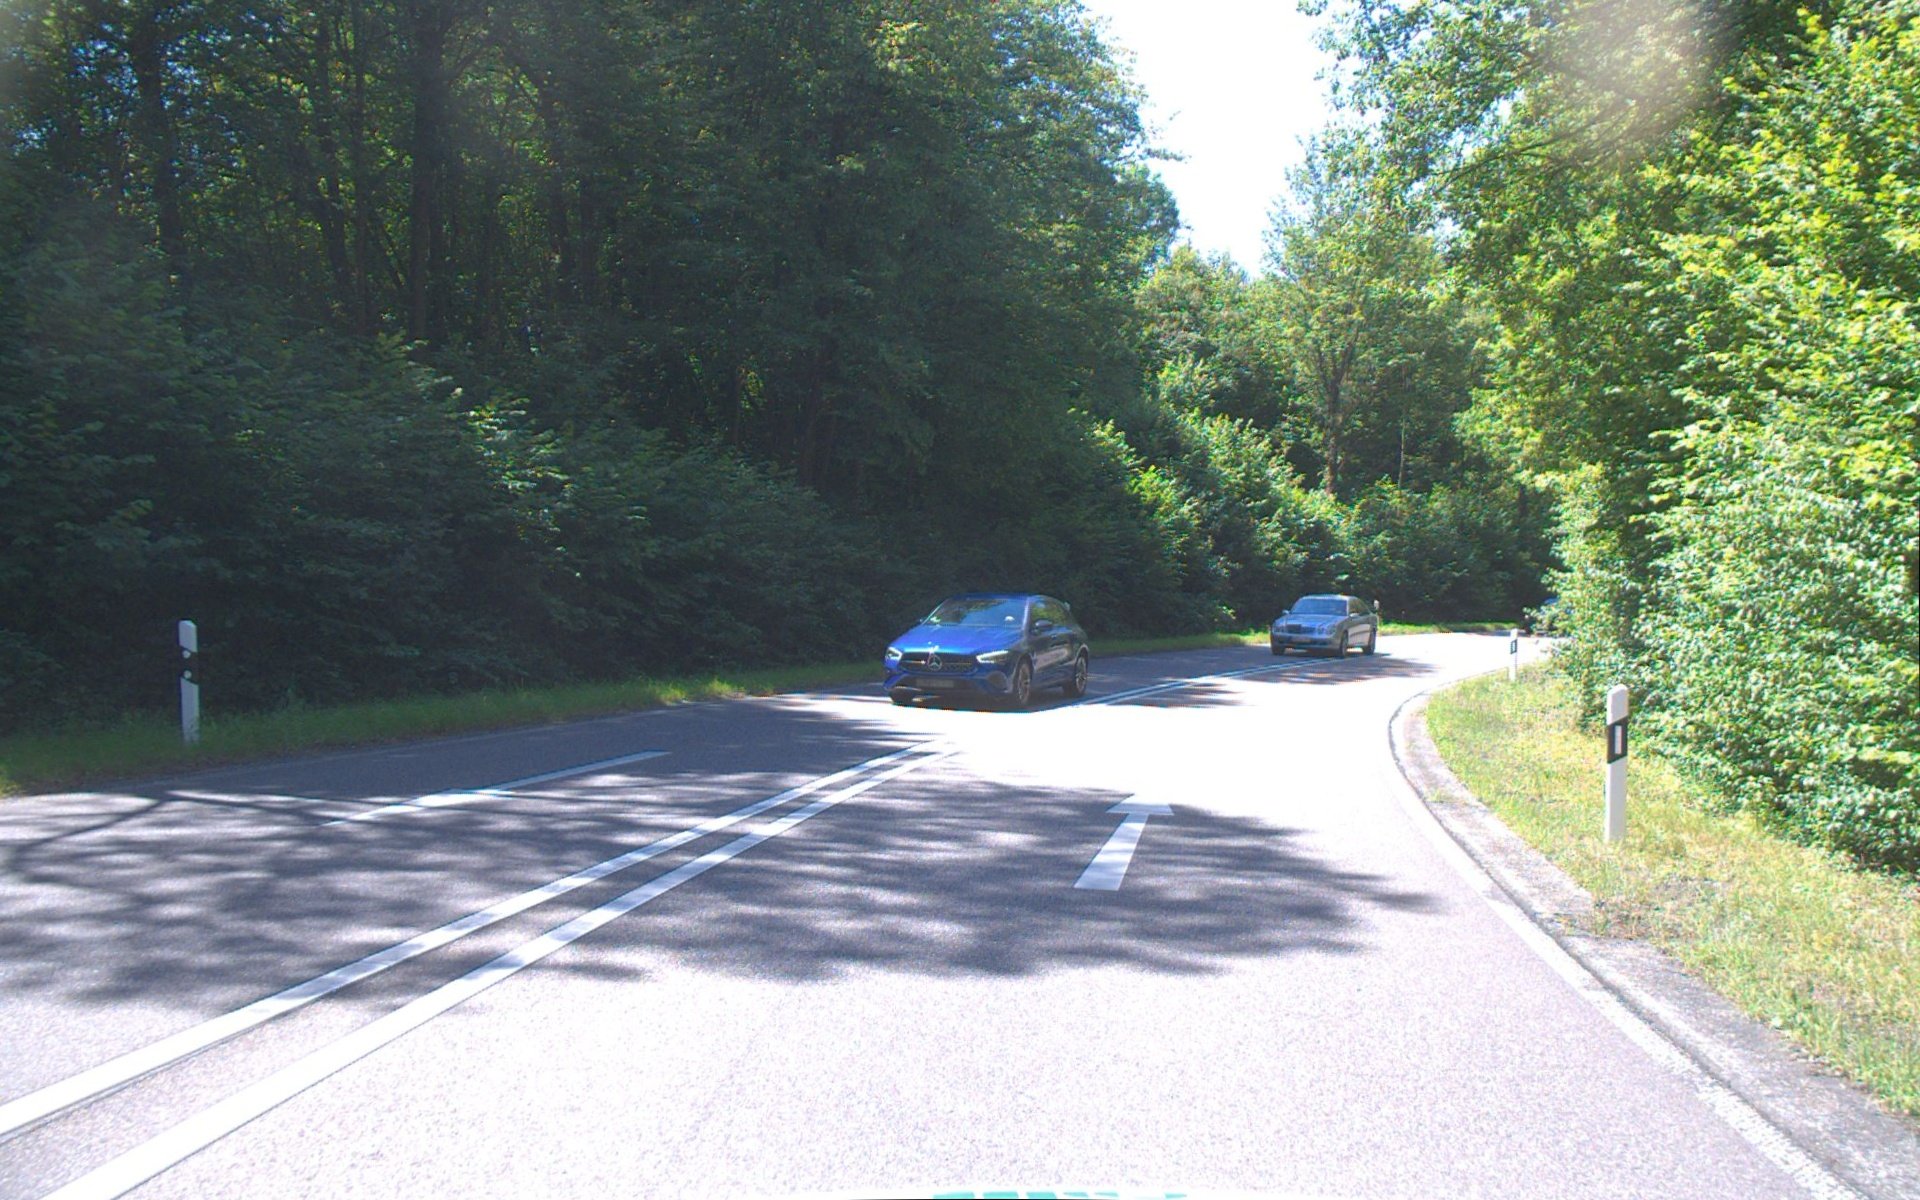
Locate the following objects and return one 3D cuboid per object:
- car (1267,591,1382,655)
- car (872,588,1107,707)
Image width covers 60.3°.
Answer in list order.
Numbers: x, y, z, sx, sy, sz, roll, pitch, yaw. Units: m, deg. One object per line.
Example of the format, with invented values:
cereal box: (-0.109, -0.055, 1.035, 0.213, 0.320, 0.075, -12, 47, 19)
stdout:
car: (9.276, 0.560, 41.792, 1.809, 1.512, 4.760, 0, 0, 26)
car: (0.520, 0.590, 22.397, 1.752, 1.431, 4.360, 0, 0, 22)
